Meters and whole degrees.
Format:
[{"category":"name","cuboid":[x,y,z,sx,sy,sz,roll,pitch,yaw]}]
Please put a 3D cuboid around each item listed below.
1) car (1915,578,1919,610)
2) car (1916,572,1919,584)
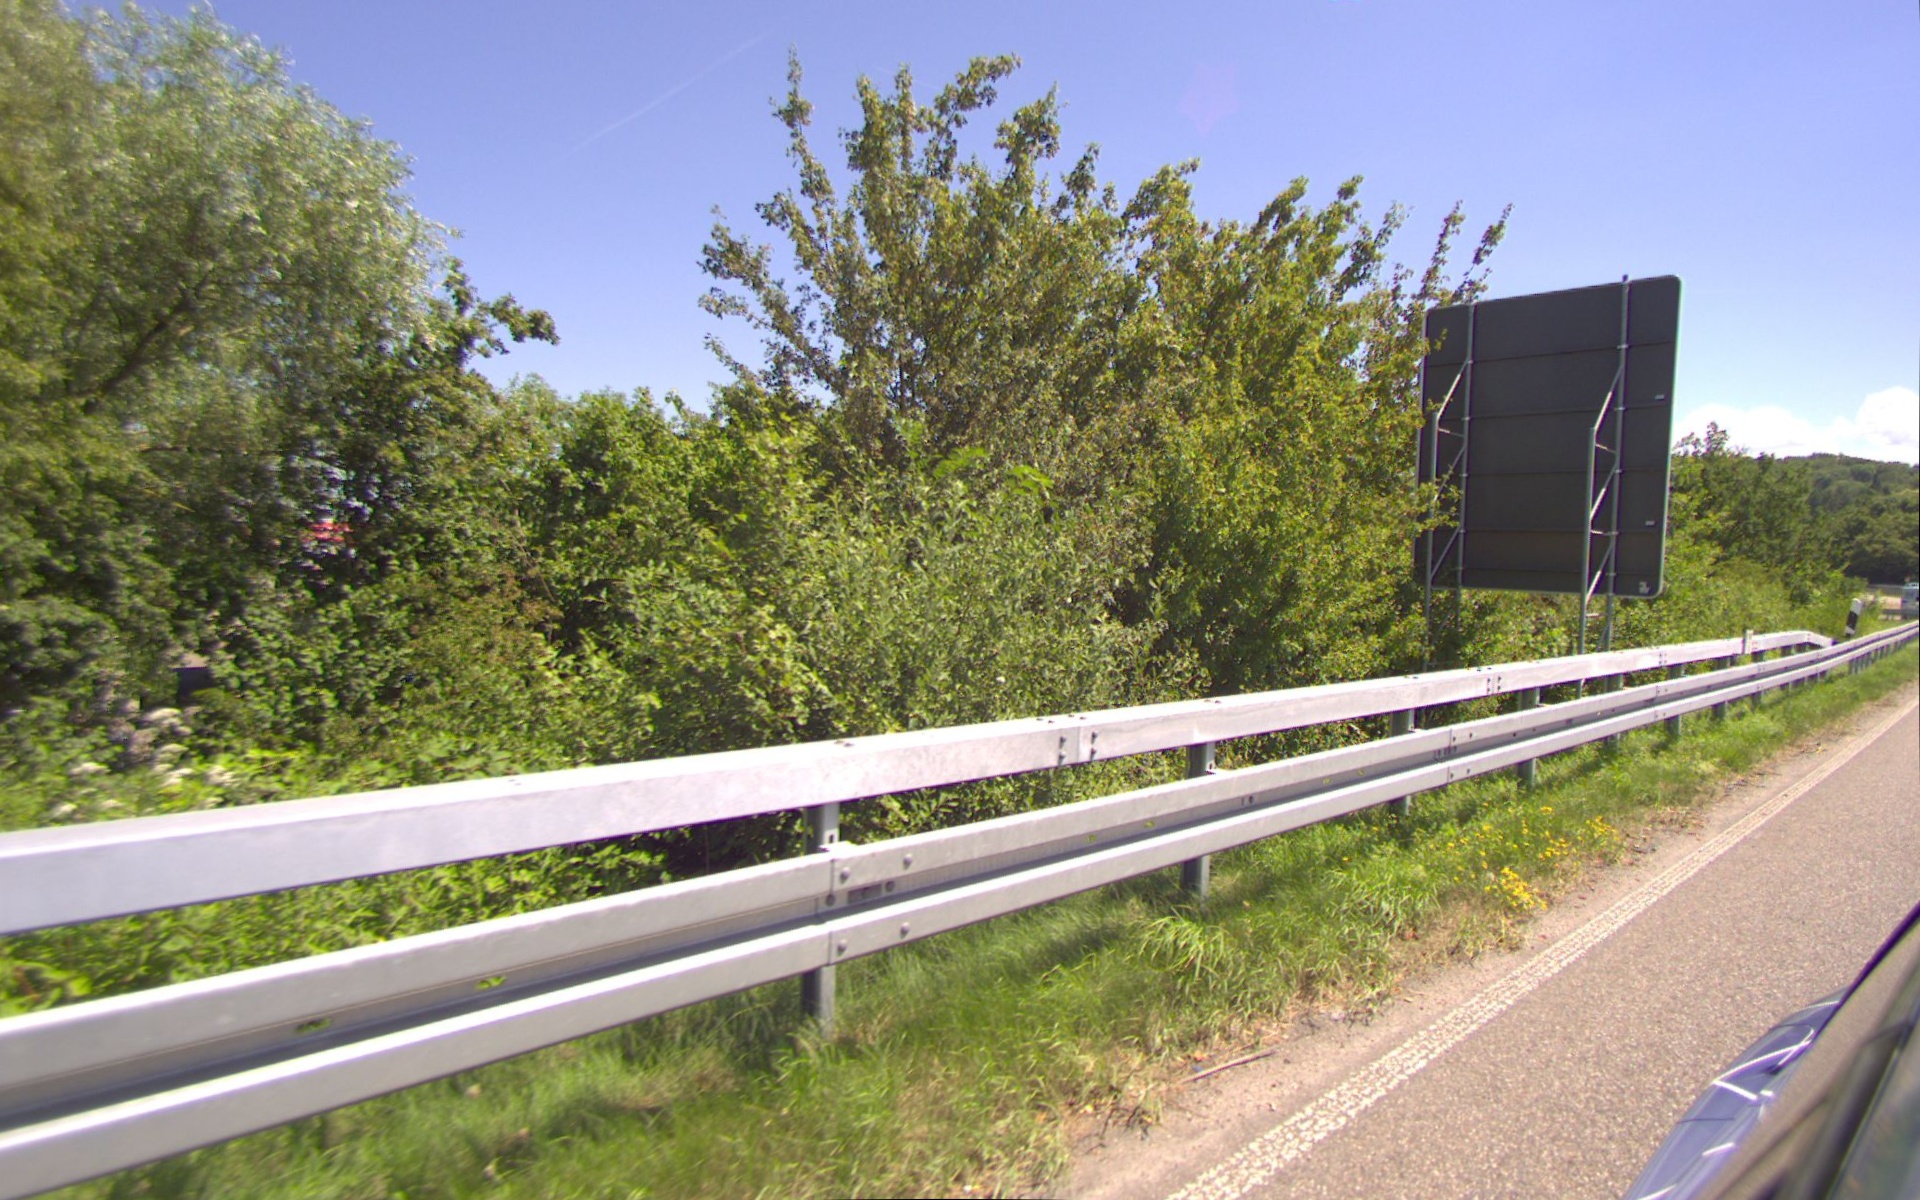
[{"category":"car","cuboid":[52.579,-0.269,53.517,1.869,1.755,4.426,1,2,29]},{"category":"car","cuboid":[158.412,-3.592,165.339,1.983,1.916,4.864,2,3,29]}]
